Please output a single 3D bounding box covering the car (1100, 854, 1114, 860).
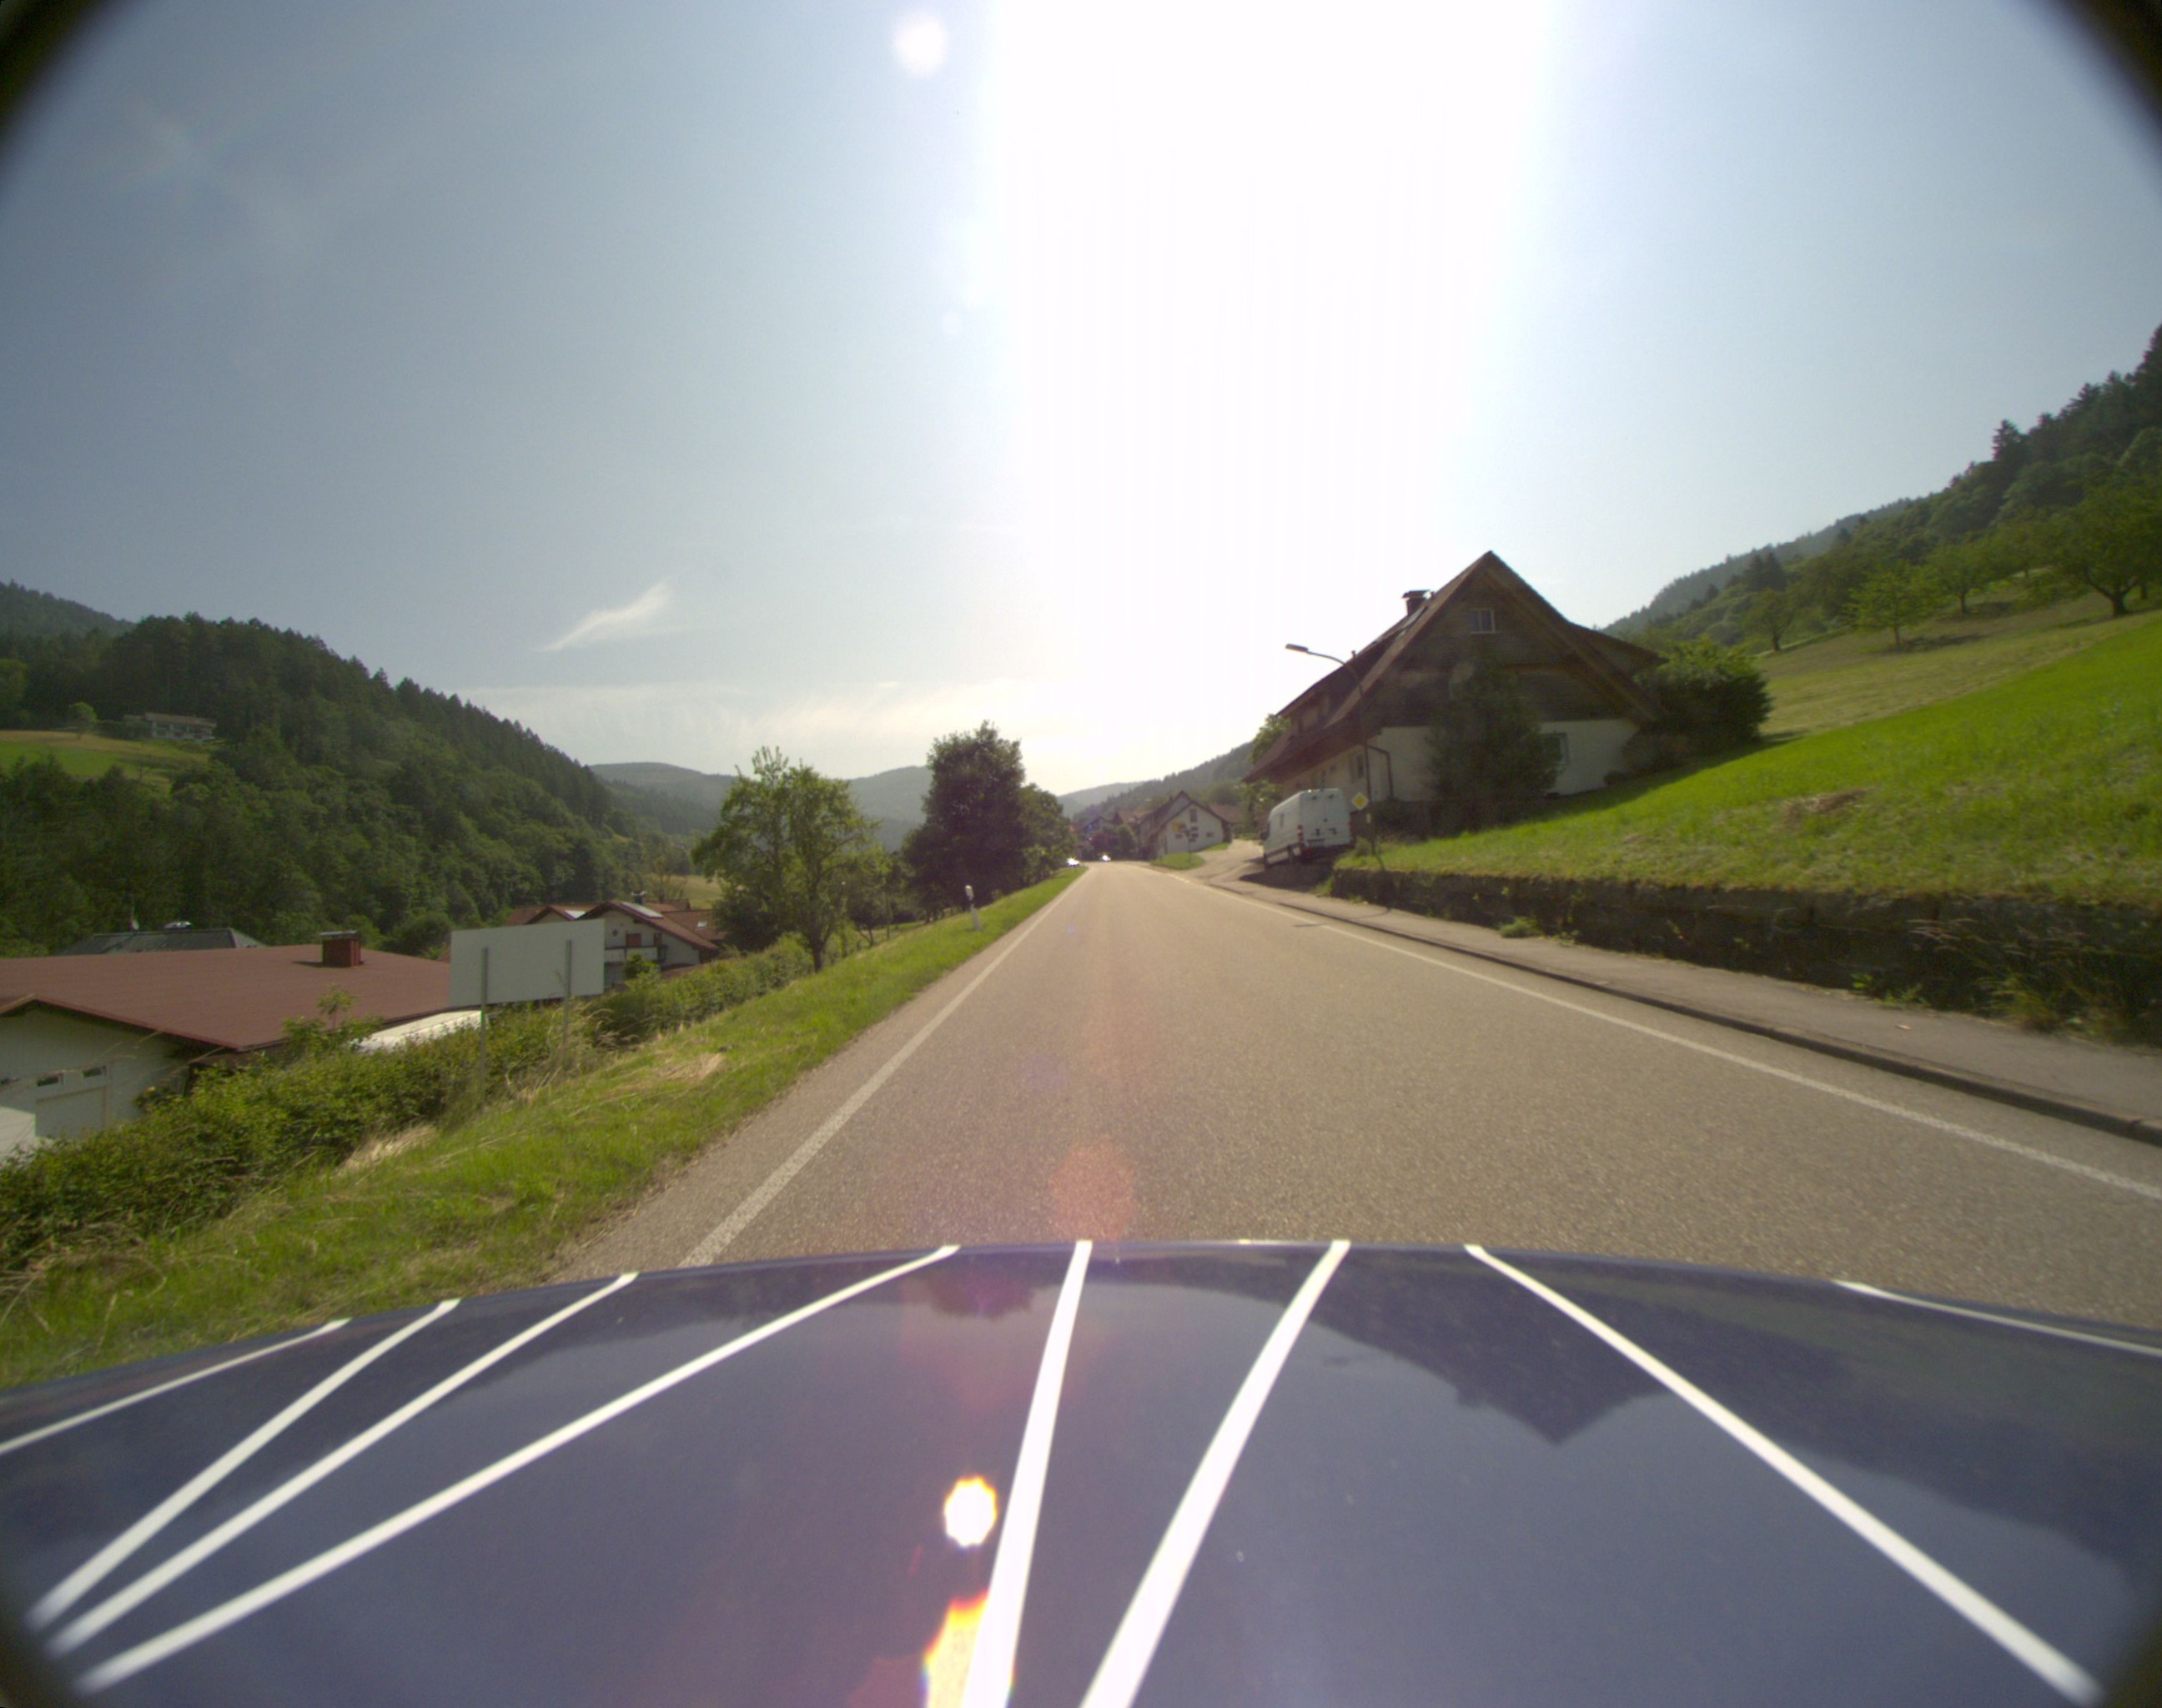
[{"bbox_3d":[6.186,0.642,180.539,1.789,1.331,4.689,-3,0,-17],"label":"car"}]

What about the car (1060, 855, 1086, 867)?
[{"bbox_3d":[-1.458,1.229,131.848,1.908,1.562,4.452,-8,1,-43],"label":"car"}]

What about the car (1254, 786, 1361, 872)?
[{"bbox_3d":[8.855,-0.790,30.594,2.072,2.671,7.178,-5,-3,1],"label":"car"}]
